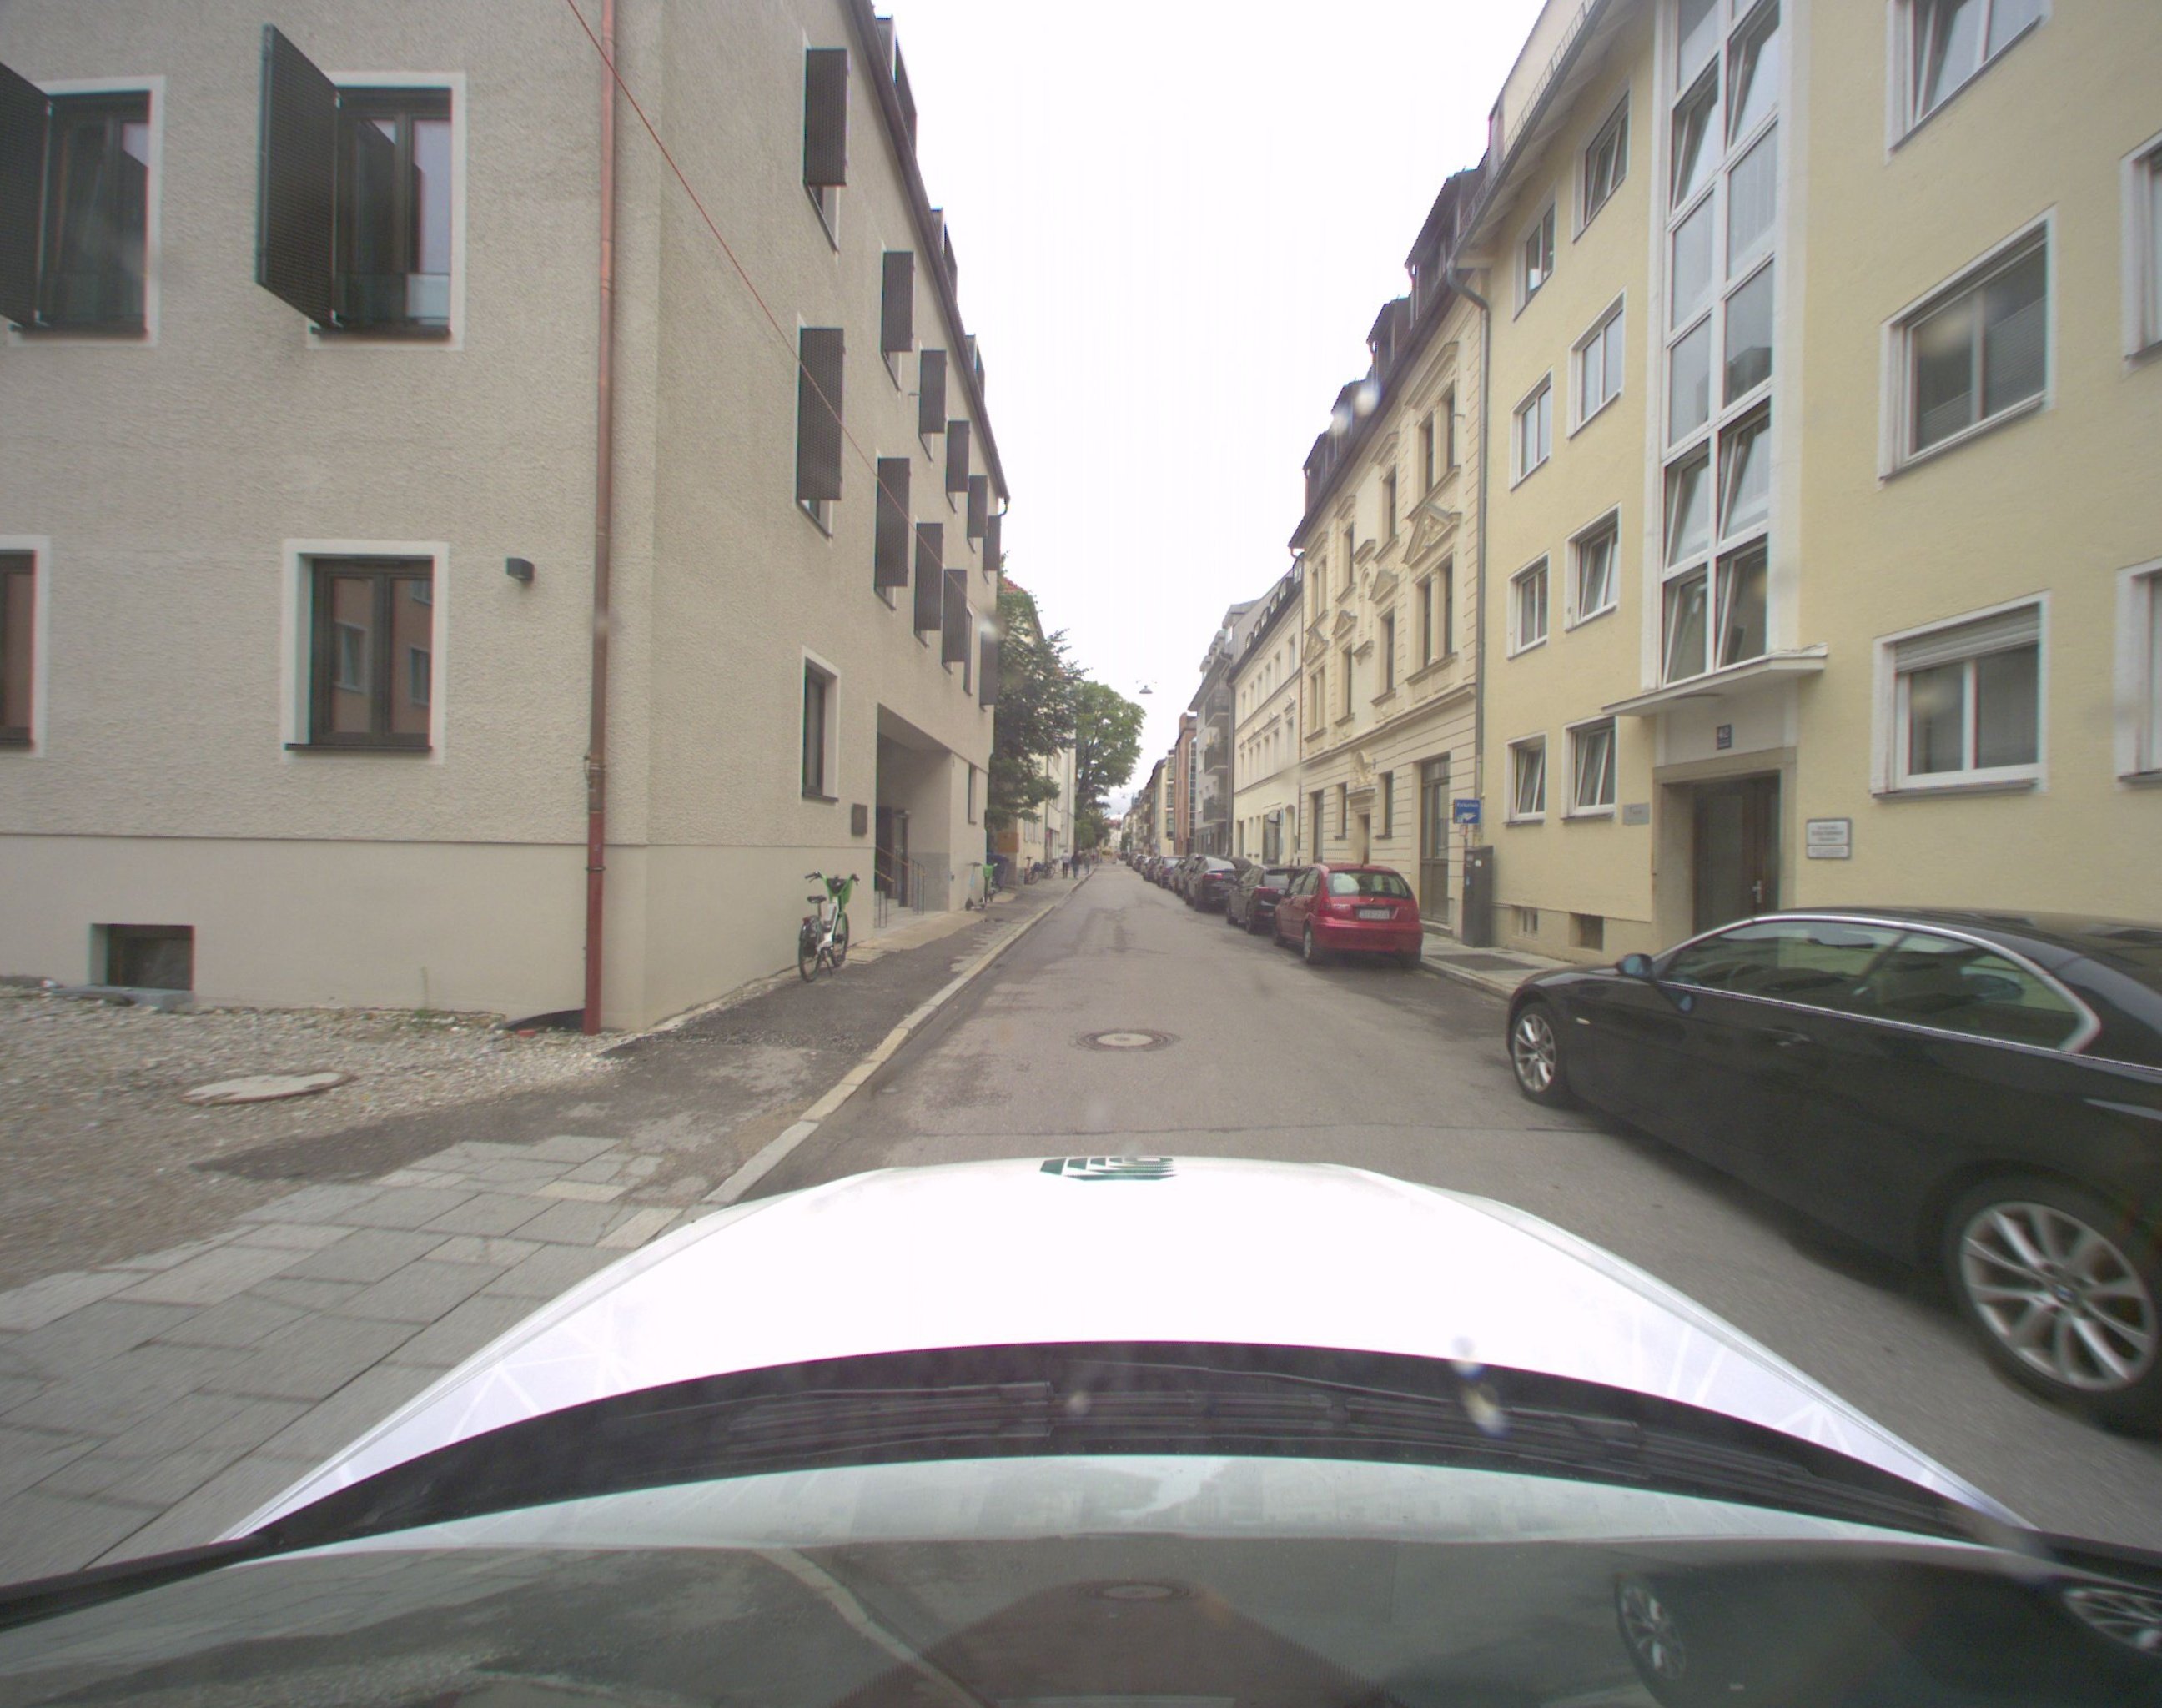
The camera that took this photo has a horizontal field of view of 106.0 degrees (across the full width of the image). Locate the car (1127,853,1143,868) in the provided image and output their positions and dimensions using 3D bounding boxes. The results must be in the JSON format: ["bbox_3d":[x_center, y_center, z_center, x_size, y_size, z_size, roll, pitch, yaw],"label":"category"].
[{"bbox_3d":[7.340,0.836,111.095,1.795,1.820,3.999,4,0,0],"label":"car"}]

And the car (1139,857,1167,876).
[{"bbox_3d":[5.687,0.968,64.767,1.830,1.417,4.602,1,0,1],"label":"car"}]

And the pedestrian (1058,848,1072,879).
[{"bbox_3d":[-0.992,0.585,49.535,0.715,1.796,0.917,2,-1,2],"label":"pedestrian"}]

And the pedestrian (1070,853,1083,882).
[{"bbox_3d":[-0.276,0.832,49.816,0.715,1.765,0.838,2,-1,2],"label":"pedestrian"}]

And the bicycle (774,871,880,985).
[{"bbox_3d":[-2.896,0.792,9.490,0.536,1.139,1.917,2,0,1],"label":"bicycle"}]

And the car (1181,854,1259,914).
[{"bbox_3d":[4.073,0.823,24.550,1.695,1.607,4.687,1,0,2],"label":"car"}]

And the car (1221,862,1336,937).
[{"bbox_3d":[4.226,0.911,18.004,1.670,1.393,4.067,1,0,2],"label":"car"}]

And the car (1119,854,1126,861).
[{"bbox_3d":[11.019,0.893,217.170,1.794,1.614,4.002,1,0,2],"label":"car"}]

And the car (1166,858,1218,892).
[{"bbox_3d":[4.764,0.858,35.409,1.793,1.386,4.350,0,0,1],"label":"car"}]

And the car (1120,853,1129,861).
[{"bbox_3d":[10.051,0.601,188.894,1.795,1.712,3.826,4,0,0],"label":"car"}]

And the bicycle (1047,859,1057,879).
[{"bbox_3d":[-1.714,0.867,48.057,0.560,1.159,1.718,1,-1,-4],"label":"bicycle"}]

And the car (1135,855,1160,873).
[{"bbox_3d":[6.052,0.860,74.614,1.879,1.555,4.391,1,0,0],"label":"car"}]

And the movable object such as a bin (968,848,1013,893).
[{"bbox_3d":[-3.179,0.565,28.610,1.168,1.442,1.251,6,1,8],"label":"movable object such as a bin"}]

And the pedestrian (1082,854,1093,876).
[{"bbox_3d":[0.528,0.854,63.055,0.750,1.659,0.907,3,-1,2],"label":"pedestrian"}]

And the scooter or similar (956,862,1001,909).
[{"bbox_3d":[-2.644,0.800,21.069,0.547,1.144,1.364,3,0,19],"label":"scooter or similar"}]

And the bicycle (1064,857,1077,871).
[{"bbox_3d":[-0.916,0.890,71.019,0.643,1.217,1.655,0,-1,-17],"label":"bicycle"}]

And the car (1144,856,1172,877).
[{"bbox_3d":[5.644,0.920,60.165,1.739,1.462,4.151,1,0,1],"label":"car"}]

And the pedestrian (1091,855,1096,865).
[{"bbox_3d":[1.912,0.860,123.286,0.753,1.491,0.831,0,-1,2],"label":"pedestrian"}]

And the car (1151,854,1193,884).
[{"bbox_3d":[4.969,0.799,44.868,1.869,1.570,4.316,-1,0,0],"label":"car"}]

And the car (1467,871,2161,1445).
[{"bbox_3d":[3.666,0.861,3.584,1.819,1.334,4.510,4,0,1],"label":"car"}]

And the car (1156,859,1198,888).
[{"bbox_3d":[4.661,0.914,39.952,1.801,1.363,3.948,0,0,3],"label":"car"}]

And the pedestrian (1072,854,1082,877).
[{"bbox_3d":[-0.307,0.909,63.143,0.610,1.713,0.823,3,-1,1],"label":"pedestrian"}]

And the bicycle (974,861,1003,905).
[{"bbox_3d":[-2.616,0.804,23.135,0.542,1.161,1.882,2,0,0],"label":"bicycle"}]

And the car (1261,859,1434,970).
[{"bbox_3d":[4.160,0.862,13.333,1.670,1.492,3.855,1,0,2],"label":"car"}]

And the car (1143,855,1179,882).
[{"bbox_3d":[4.828,0.866,49.760,1.833,1.528,4.293,1,0,1],"label":"car"}]

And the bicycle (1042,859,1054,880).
[{"bbox_3d":[-1.854,0.851,46.343,0.456,1.159,1.606,3,0,3],"label":"bicycle"}]

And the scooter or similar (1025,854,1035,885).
[{"bbox_3d":[-2.296,0.674,36.473,0.316,1.376,1.239,0,-1,2],"label":"scooter or similar"}]

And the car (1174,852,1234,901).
[{"bbox_3d":[4.488,0.769,30.269,1.670,1.661,4.514,1,0,2],"label":"car"}]

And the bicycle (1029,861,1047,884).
[{"bbox_3d":[-2.005,0.875,38.198,0.702,0.984,1.821,5,0,-2],"label":"bicycle"}]

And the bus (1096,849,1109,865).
[{"bbox_3d":[4.174,0.591,157.078,2.582,3.102,6.309,0,-1,2],"label":"bus"}]
